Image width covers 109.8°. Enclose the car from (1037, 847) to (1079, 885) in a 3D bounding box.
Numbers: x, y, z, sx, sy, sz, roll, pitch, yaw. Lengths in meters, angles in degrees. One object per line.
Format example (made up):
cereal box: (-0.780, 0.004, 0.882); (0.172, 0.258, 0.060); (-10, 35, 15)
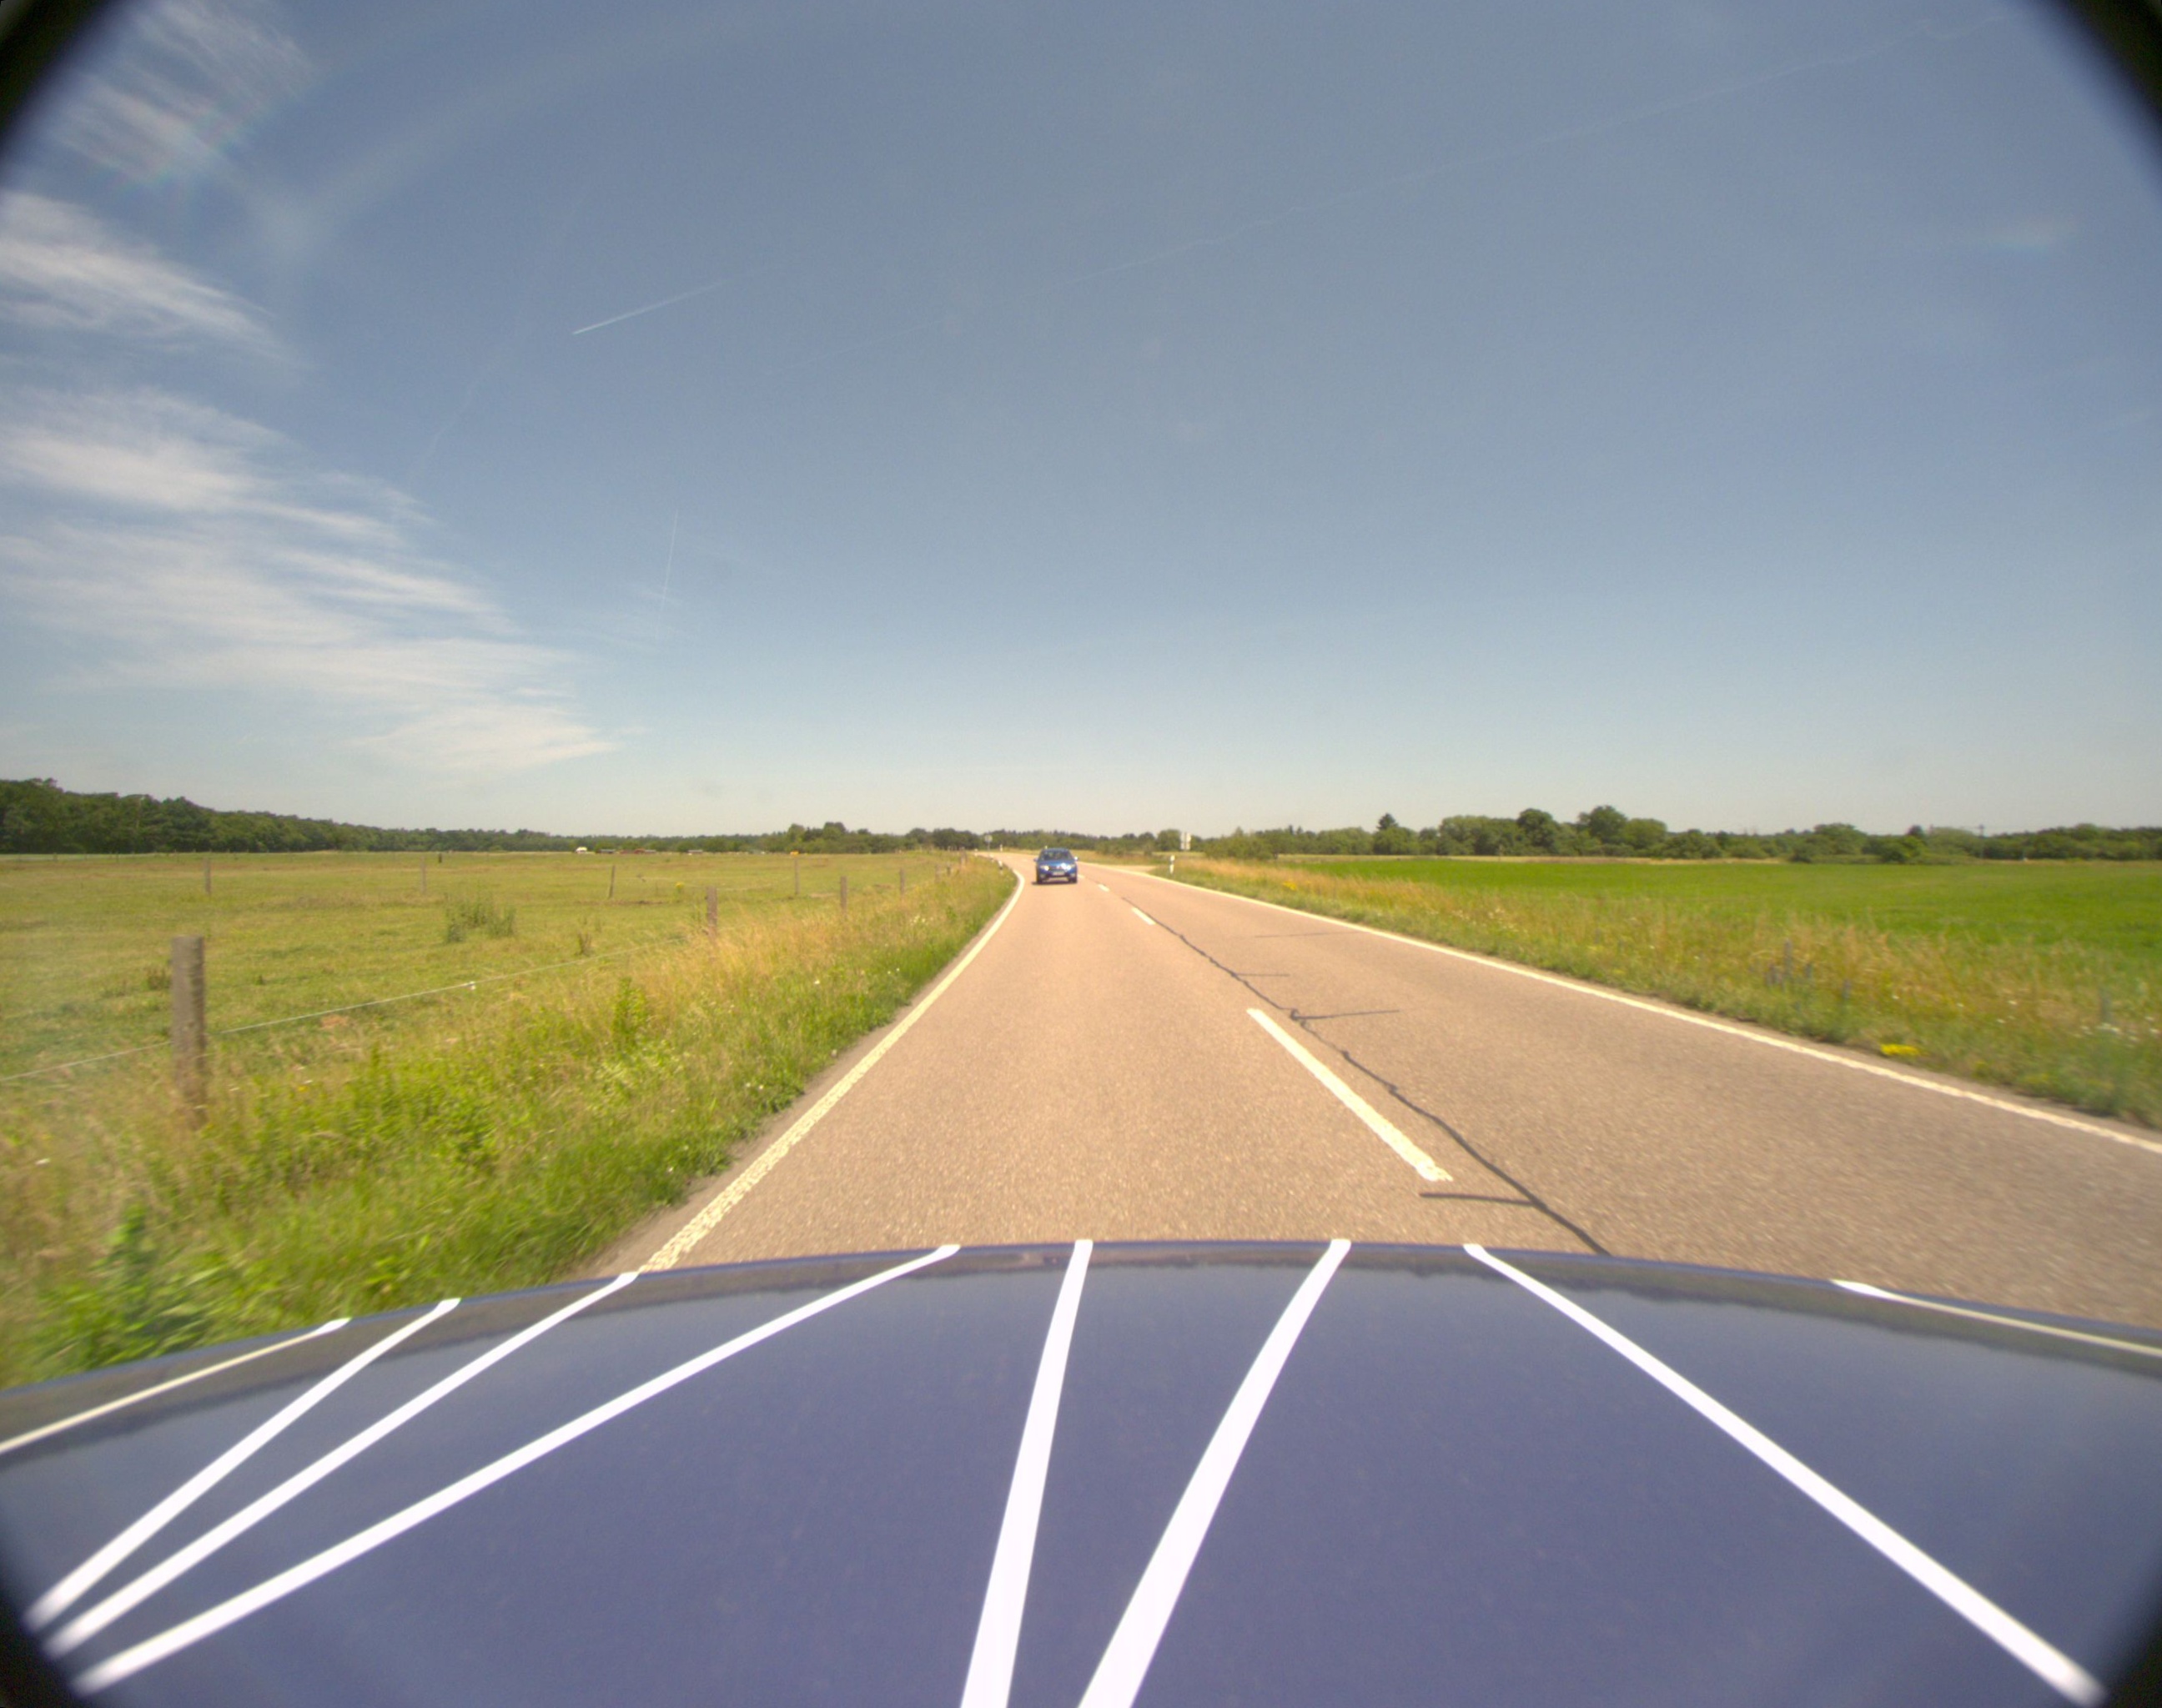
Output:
car: (-1.041, 0.493, 34.370); (1.734, 1.572, 3.999); (-2, 1, -2)
